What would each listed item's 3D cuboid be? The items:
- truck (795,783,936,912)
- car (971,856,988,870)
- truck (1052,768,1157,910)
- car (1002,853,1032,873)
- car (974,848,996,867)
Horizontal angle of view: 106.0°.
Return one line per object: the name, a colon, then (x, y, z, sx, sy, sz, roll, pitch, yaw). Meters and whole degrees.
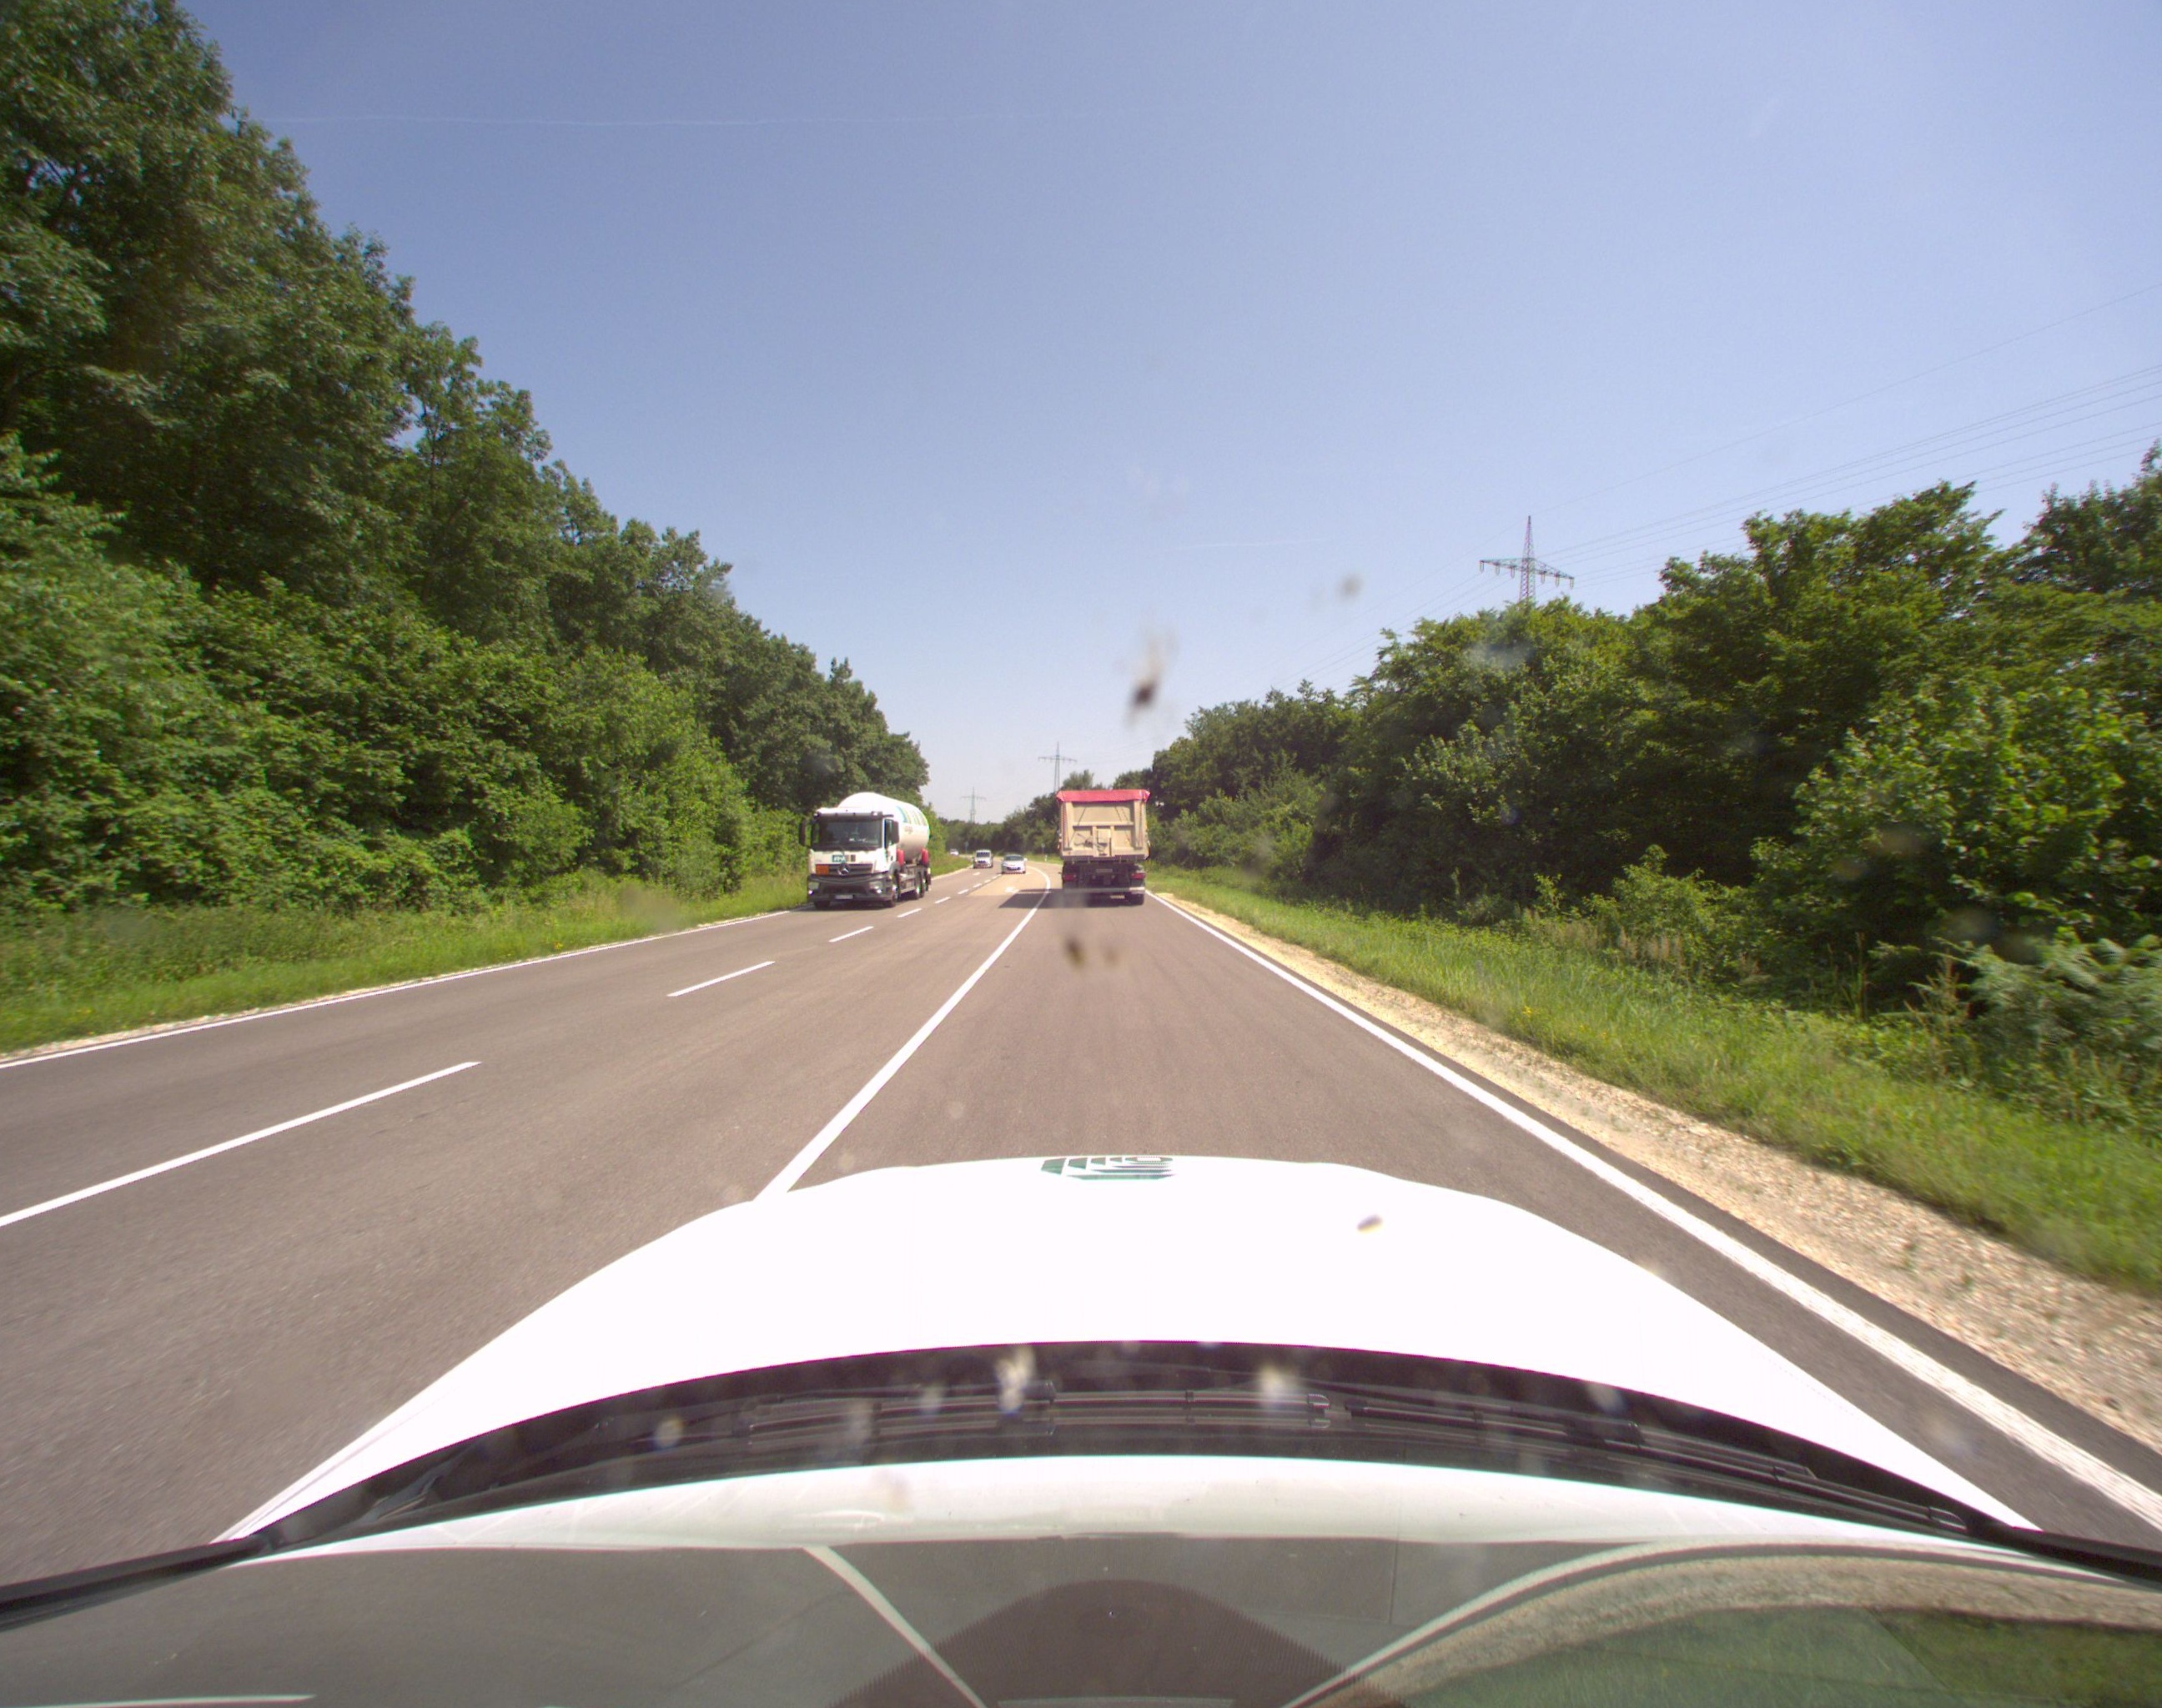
truck: (-6.979, -0.175, 27.837, 2.620, 3.671, 8.790, -1, 0, -1)
car: (-13.420, 1.247, 108.070, 1.838, 1.779, 4.887, -1, -1, -3)
truck: (0.603, -0.460, 28.887, 2.884, 3.962, 11.928, -1, 0, -1)
car: (-4.728, 0.676, 61.061, 1.701, 1.419, 4.101, -1, -1, 3)
car: (-9.478, 0.386, 80.582, 1.838, 1.779, 4.887, -1, -1, -3)
